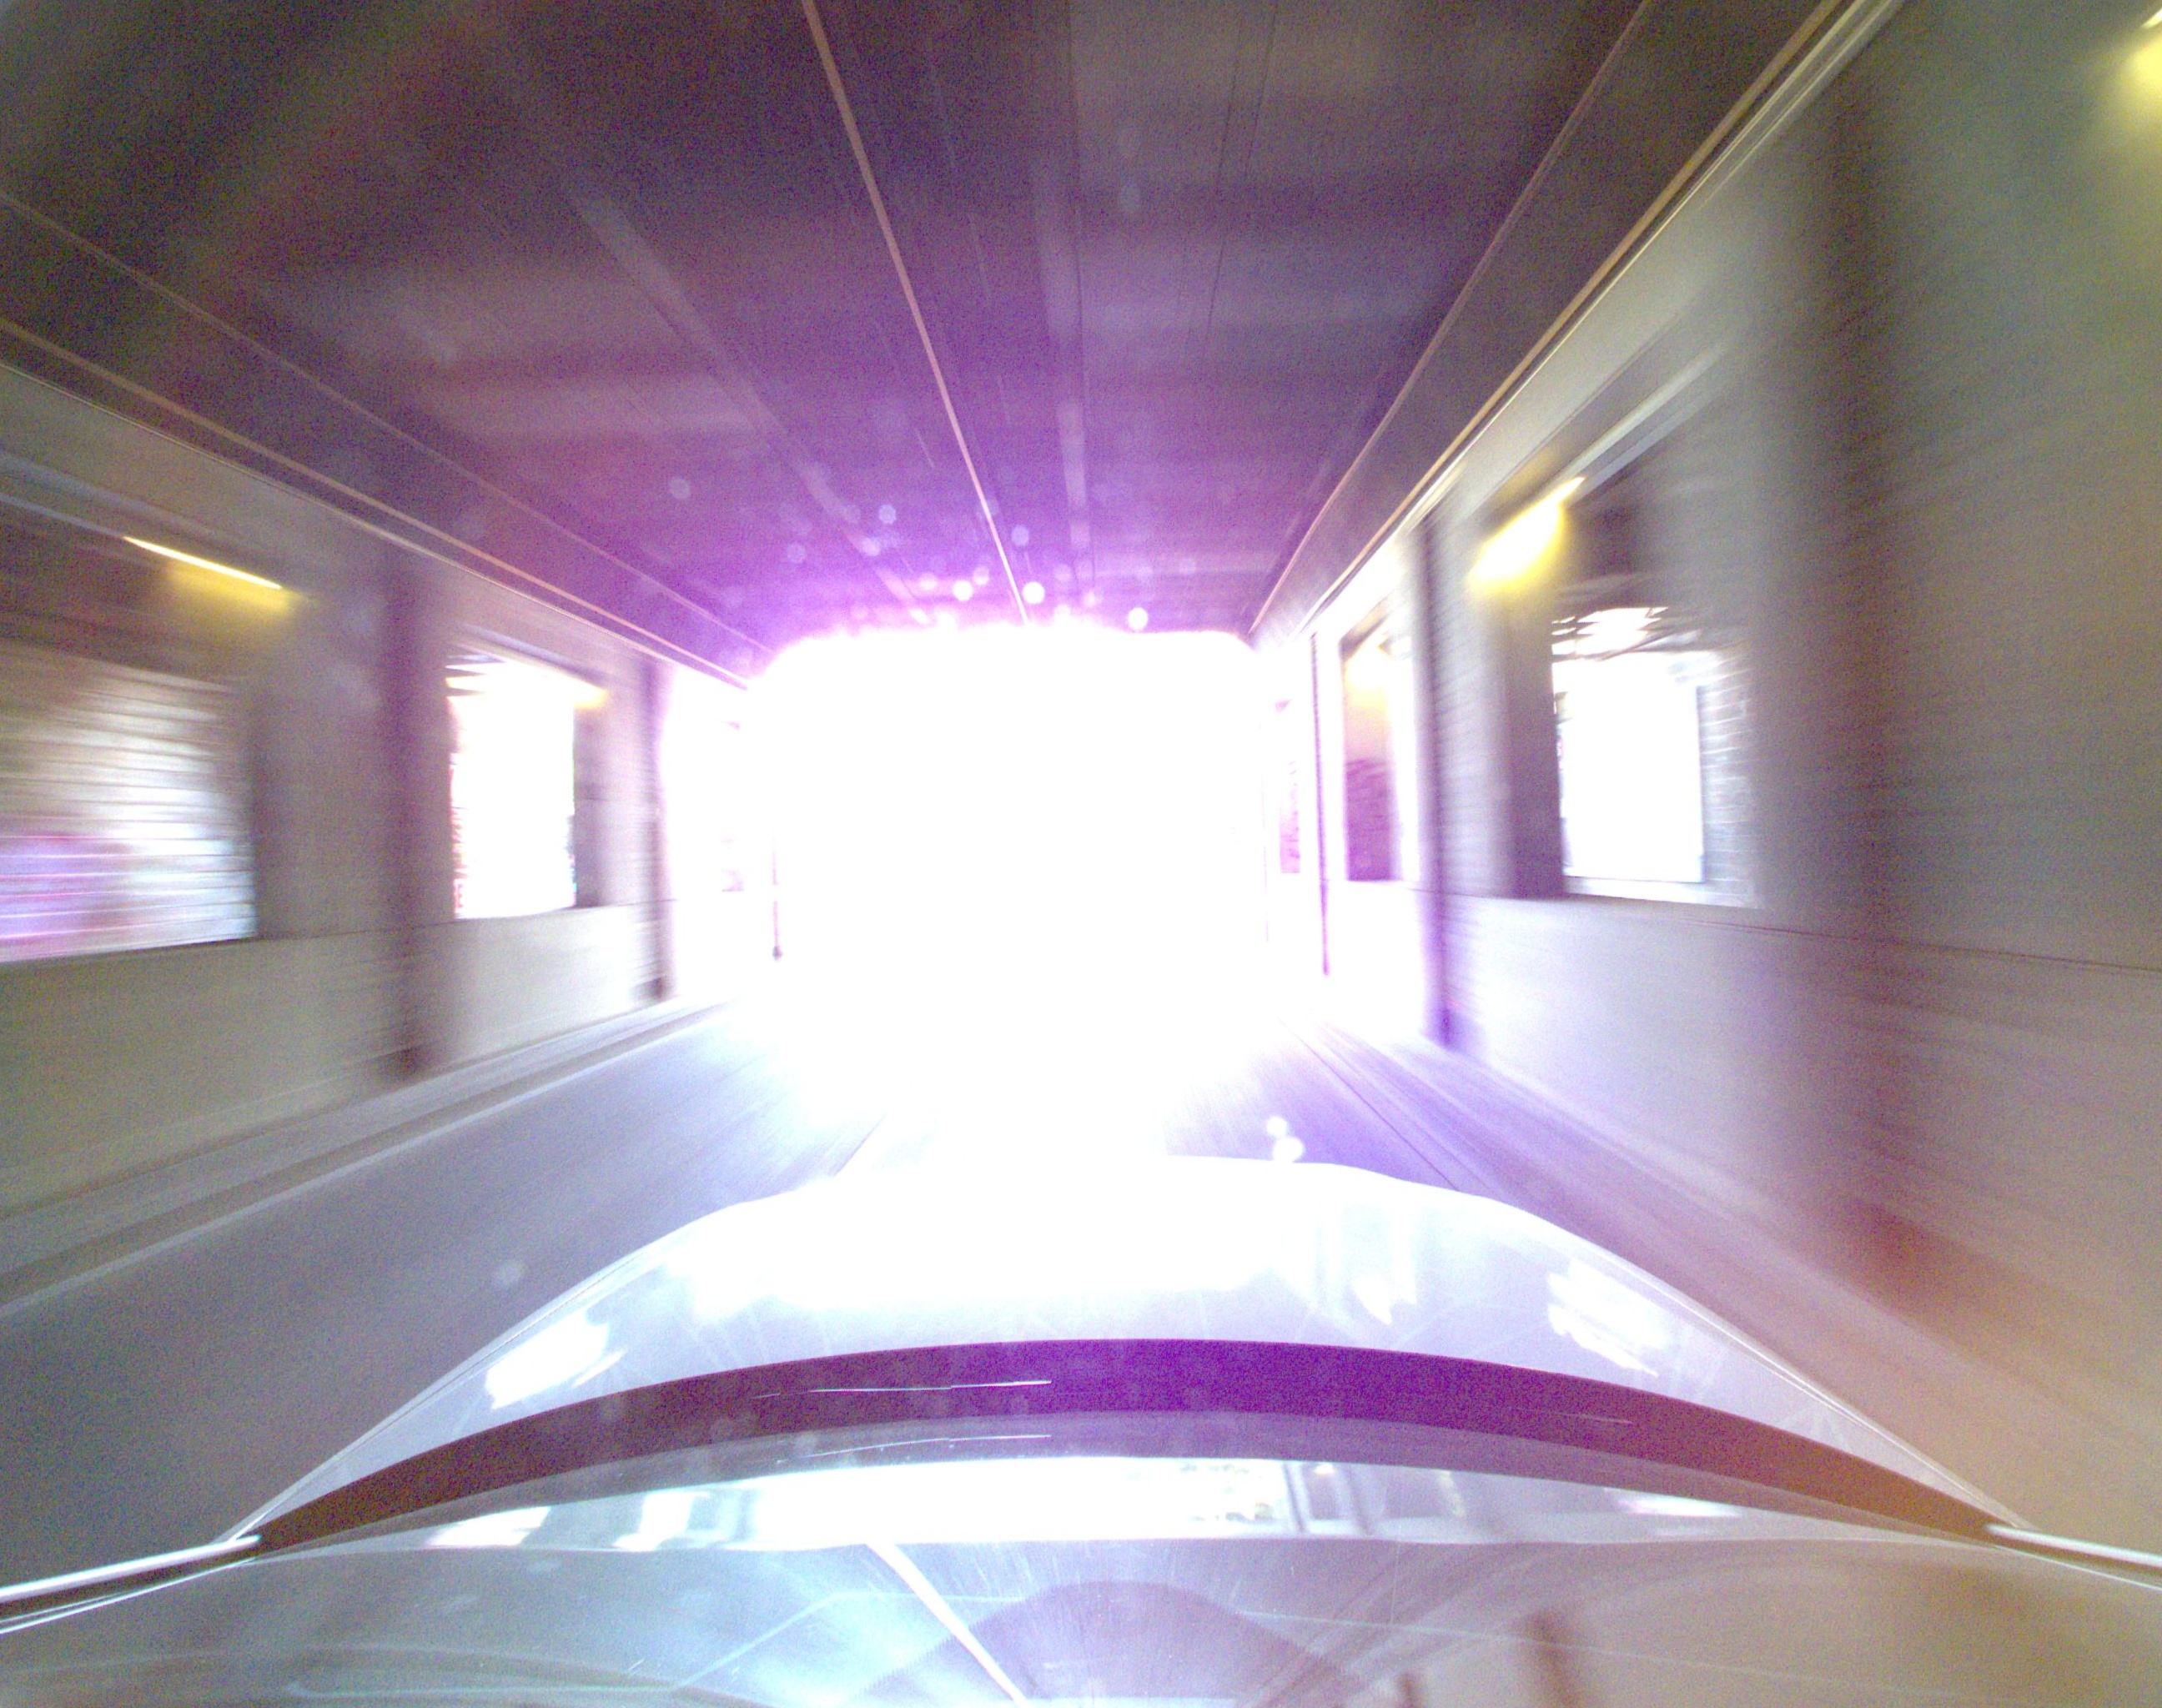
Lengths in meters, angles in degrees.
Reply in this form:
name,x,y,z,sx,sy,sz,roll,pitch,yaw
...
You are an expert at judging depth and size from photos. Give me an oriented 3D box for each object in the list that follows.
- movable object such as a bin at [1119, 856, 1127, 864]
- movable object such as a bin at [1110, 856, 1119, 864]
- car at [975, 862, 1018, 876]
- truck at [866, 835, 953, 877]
name,x,y,z,sx,sy,sz,roll,pitch,yaw
movable object such as a bin,7.102,1.047,137.631,1.363,1.418,1.063,0,-1,-5
movable object such as a bin,5.681,1.047,137.474,1.363,1.418,1.063,0,-1,-5
car,-8.946,1.609,86.117,4.170,1.490,1.888,-1,-1,28
truck,-17.488,0.231,82.625,9.214,3.884,2.728,-2,-2,31
